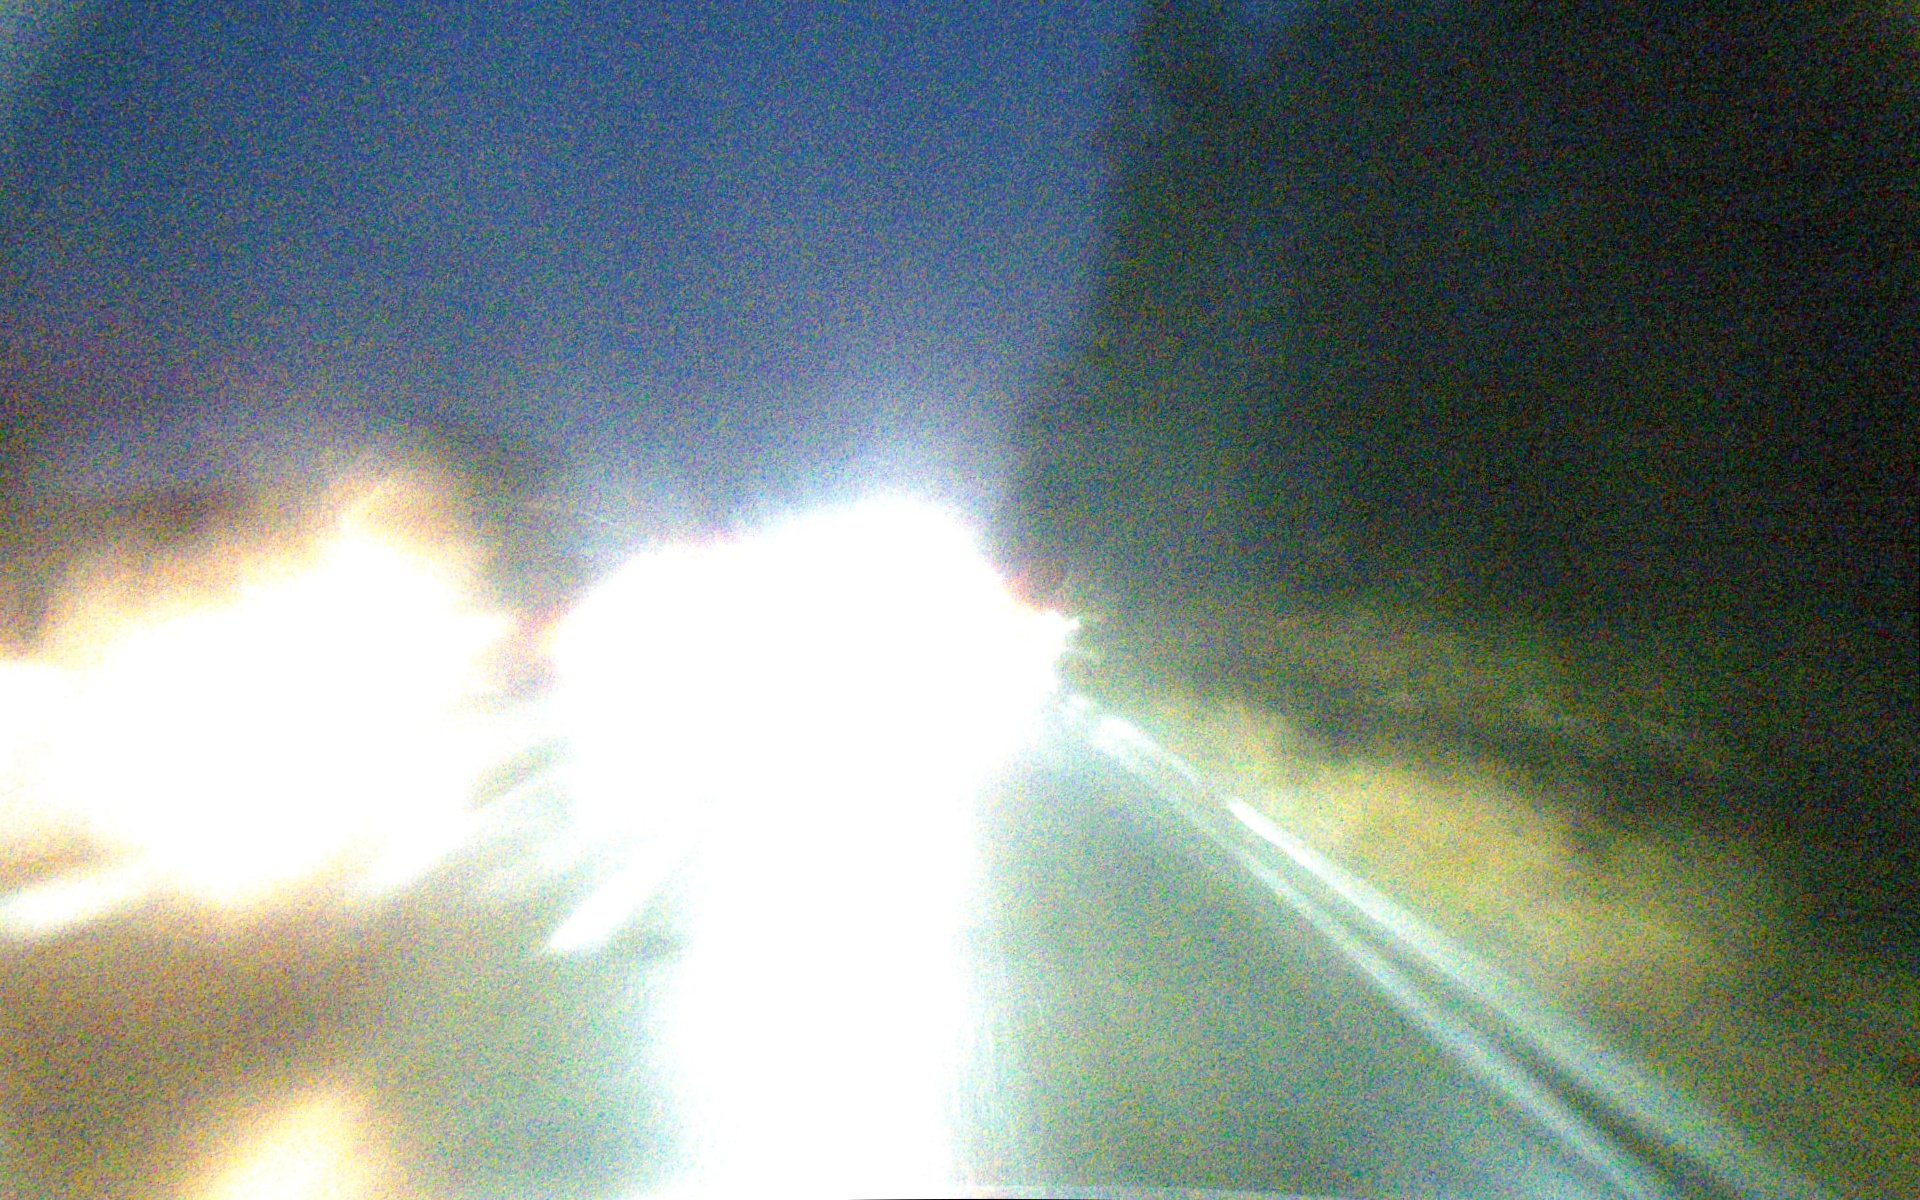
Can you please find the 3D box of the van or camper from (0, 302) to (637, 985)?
[{"bbox_3d":[-3.425,0.164,9.349,2.080,2.610,5.782,-2,0,-1],"label":"van or camper"}]

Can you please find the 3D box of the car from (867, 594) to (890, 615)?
[{"bbox_3d":[-6.596,0.357,134.169,1.729,1.546,4.489,-2,0,-1],"label":"car"}]

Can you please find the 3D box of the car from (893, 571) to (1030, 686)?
[{"bbox_3d":[0.039,0.504,32.116,2.407,1.992,4.911,2,0,0],"label":"car"}]

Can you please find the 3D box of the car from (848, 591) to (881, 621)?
[{"bbox_3d":[-5.485,0.331,95.239,1.768,1.656,4.405,-1,0,-2],"label":"car"}]
